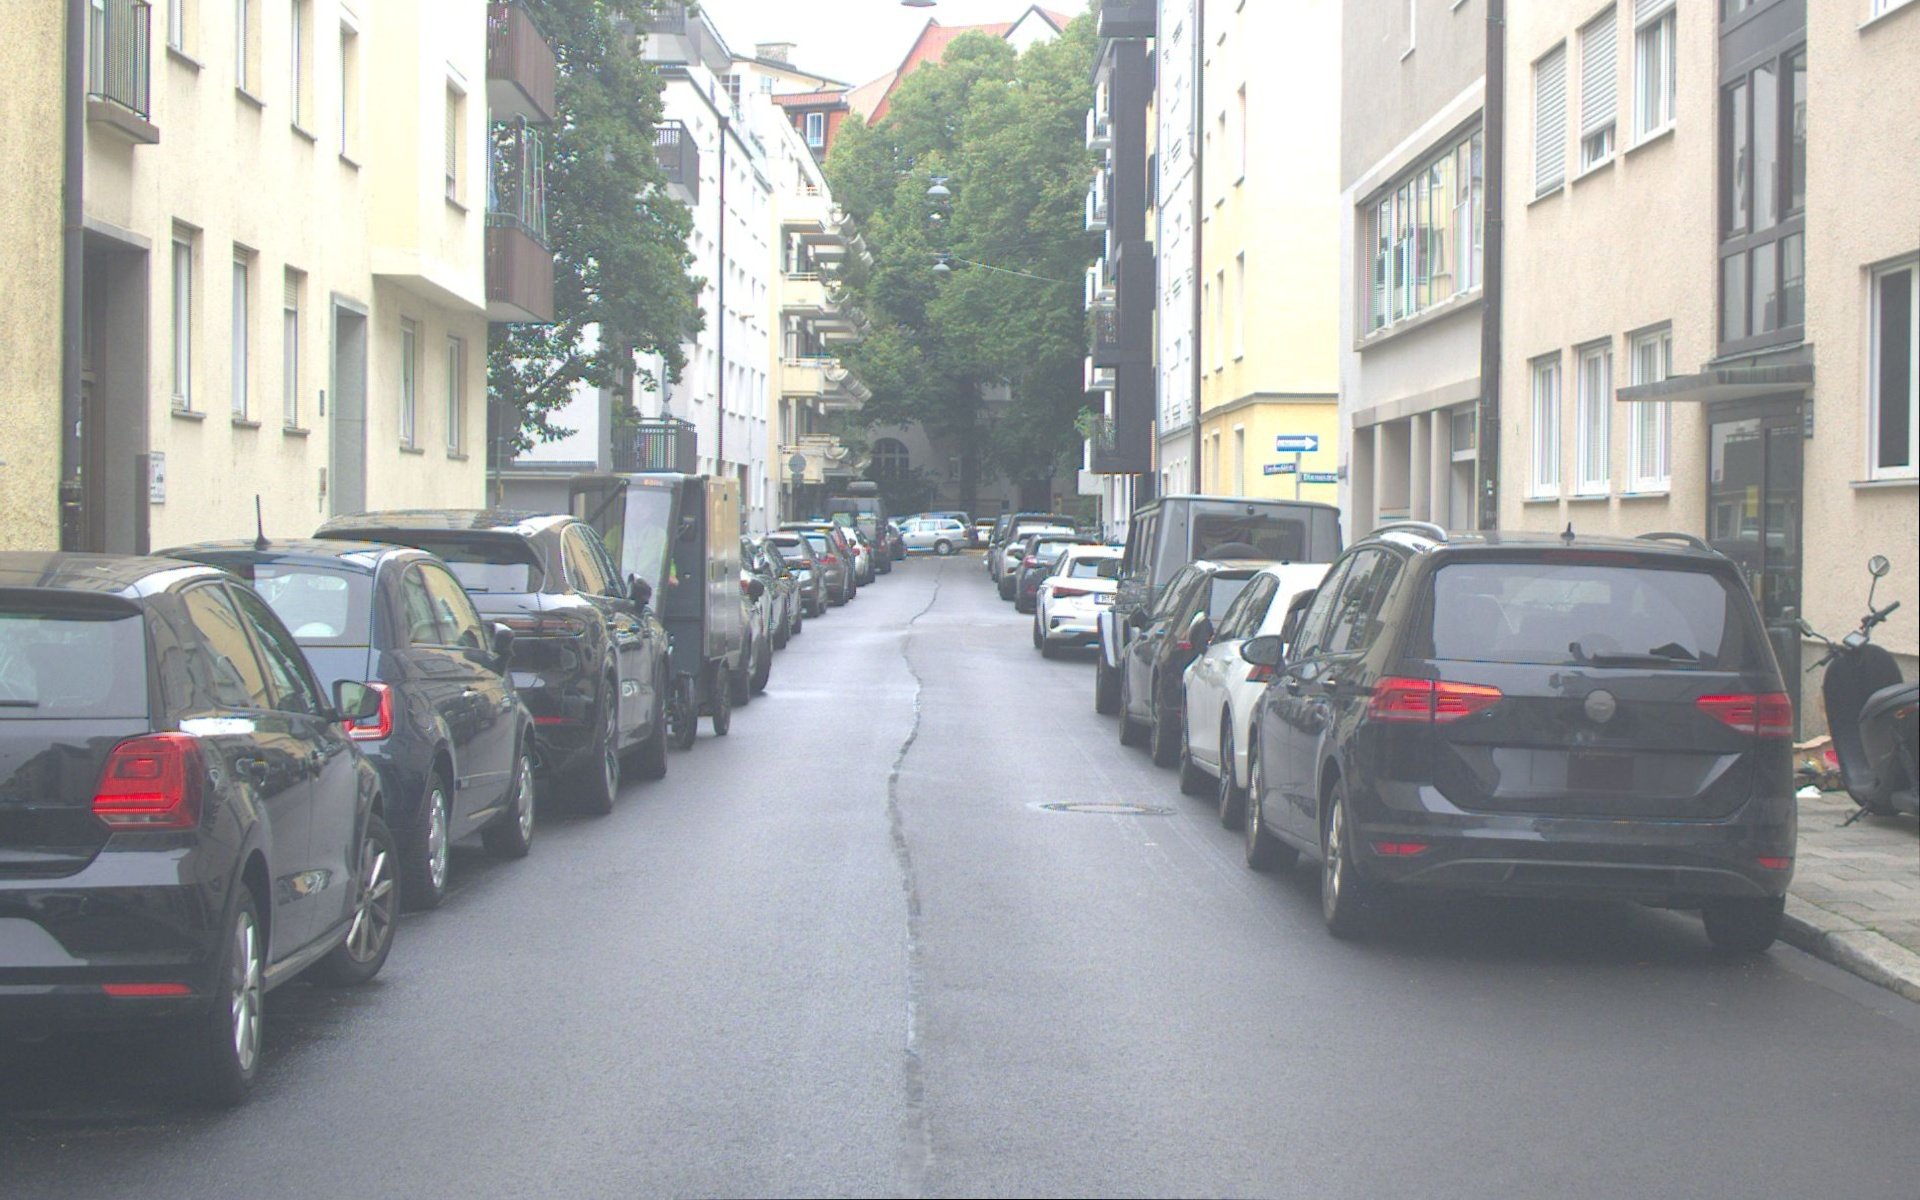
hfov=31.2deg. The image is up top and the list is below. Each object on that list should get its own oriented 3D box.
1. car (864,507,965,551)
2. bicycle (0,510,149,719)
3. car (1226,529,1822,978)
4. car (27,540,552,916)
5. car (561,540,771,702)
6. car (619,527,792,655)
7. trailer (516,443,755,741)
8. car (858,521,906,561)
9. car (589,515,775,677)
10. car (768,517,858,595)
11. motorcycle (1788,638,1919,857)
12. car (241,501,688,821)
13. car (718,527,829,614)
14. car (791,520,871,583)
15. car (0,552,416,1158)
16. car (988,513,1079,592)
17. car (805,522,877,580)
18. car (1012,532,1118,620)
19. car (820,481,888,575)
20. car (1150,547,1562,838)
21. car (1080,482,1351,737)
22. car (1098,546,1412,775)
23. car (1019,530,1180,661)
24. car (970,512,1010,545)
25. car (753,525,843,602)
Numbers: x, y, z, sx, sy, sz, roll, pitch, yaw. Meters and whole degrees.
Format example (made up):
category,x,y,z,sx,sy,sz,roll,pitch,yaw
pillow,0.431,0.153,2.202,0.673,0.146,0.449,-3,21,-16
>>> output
category,x,y,z,sx,sy,sz,roll,pitch,yaw
car,-1.805,-2.797,135.000,3.885,1.579,1.648,-2,1,-1
bicycle,-5.759,0.081,22.310,0.594,1.274,1.552,3,1,-2
car,2.249,0.541,14.813,1.711,1.602,4.244,2,1,-1
car,-2.811,0.467,15.088,1.563,1.455,3.475,0,1,1
car,-2.704,0.150,32.281,1.652,1.431,3.803,0,1,0
car,-3.138,-0.156,43.113,1.766,1.478,4.424,0,2,1
trailer,-2.412,-0.082,26.142,1.355,2.108,3.318,1,1,2
car,-2.830,-2.153,125.242,1.642,1.379,3.483,-2,1,-1
car,-2.976,-0.078,37.551,1.766,1.669,4.368,0,1,-1
car,-3.112,-0.968,73.660,1.776,1.623,4.415,0,1,-1
motorcycle,4.687,0.714,17.333,0.481,0.964,1.911,-3,1,-1
car,-2.743,0.279,20.021,1.879,1.654,4.415,0,1,1
car,-3.222,-0.543,59.955,1.693,1.437,3.942,0,1,0
car,-3.233,-1.241,86.797,1.777,1.482,4.519,-2,1,0
car,-2.642,0.593,10.197,1.563,1.455,3.764,0,1,-2
car,1.578,-1.066,74.917,1.682,1.562,4.416,3,2,-2
car,-3.166,-1.338,91.902,1.776,1.448,4.046,-2,1,-1
car,1.951,-0.476,64.890,1.751,1.464,4.343,3,2,-1
car,-3.272,-2.255,106.582,1.936,2.792,4.533,-2,1,-1
car,2.206,0.460,20.244,1.711,1.481,4.245,2,1,-2
car,2.141,0.011,29.957,1.750,1.968,4.344,3,2,-3
car,2.070,0.381,25.224,1.711,1.481,4.245,2,1,-2
car,1.781,-0.093,44.928,1.819,1.403,3.953,2,4,-1
car,1.311,-3.169,152.176,1.642,1.379,3.746,-2,1,-1
car,-3.167,-0.745,67.674,1.693,1.437,3.978,0,1,-2
